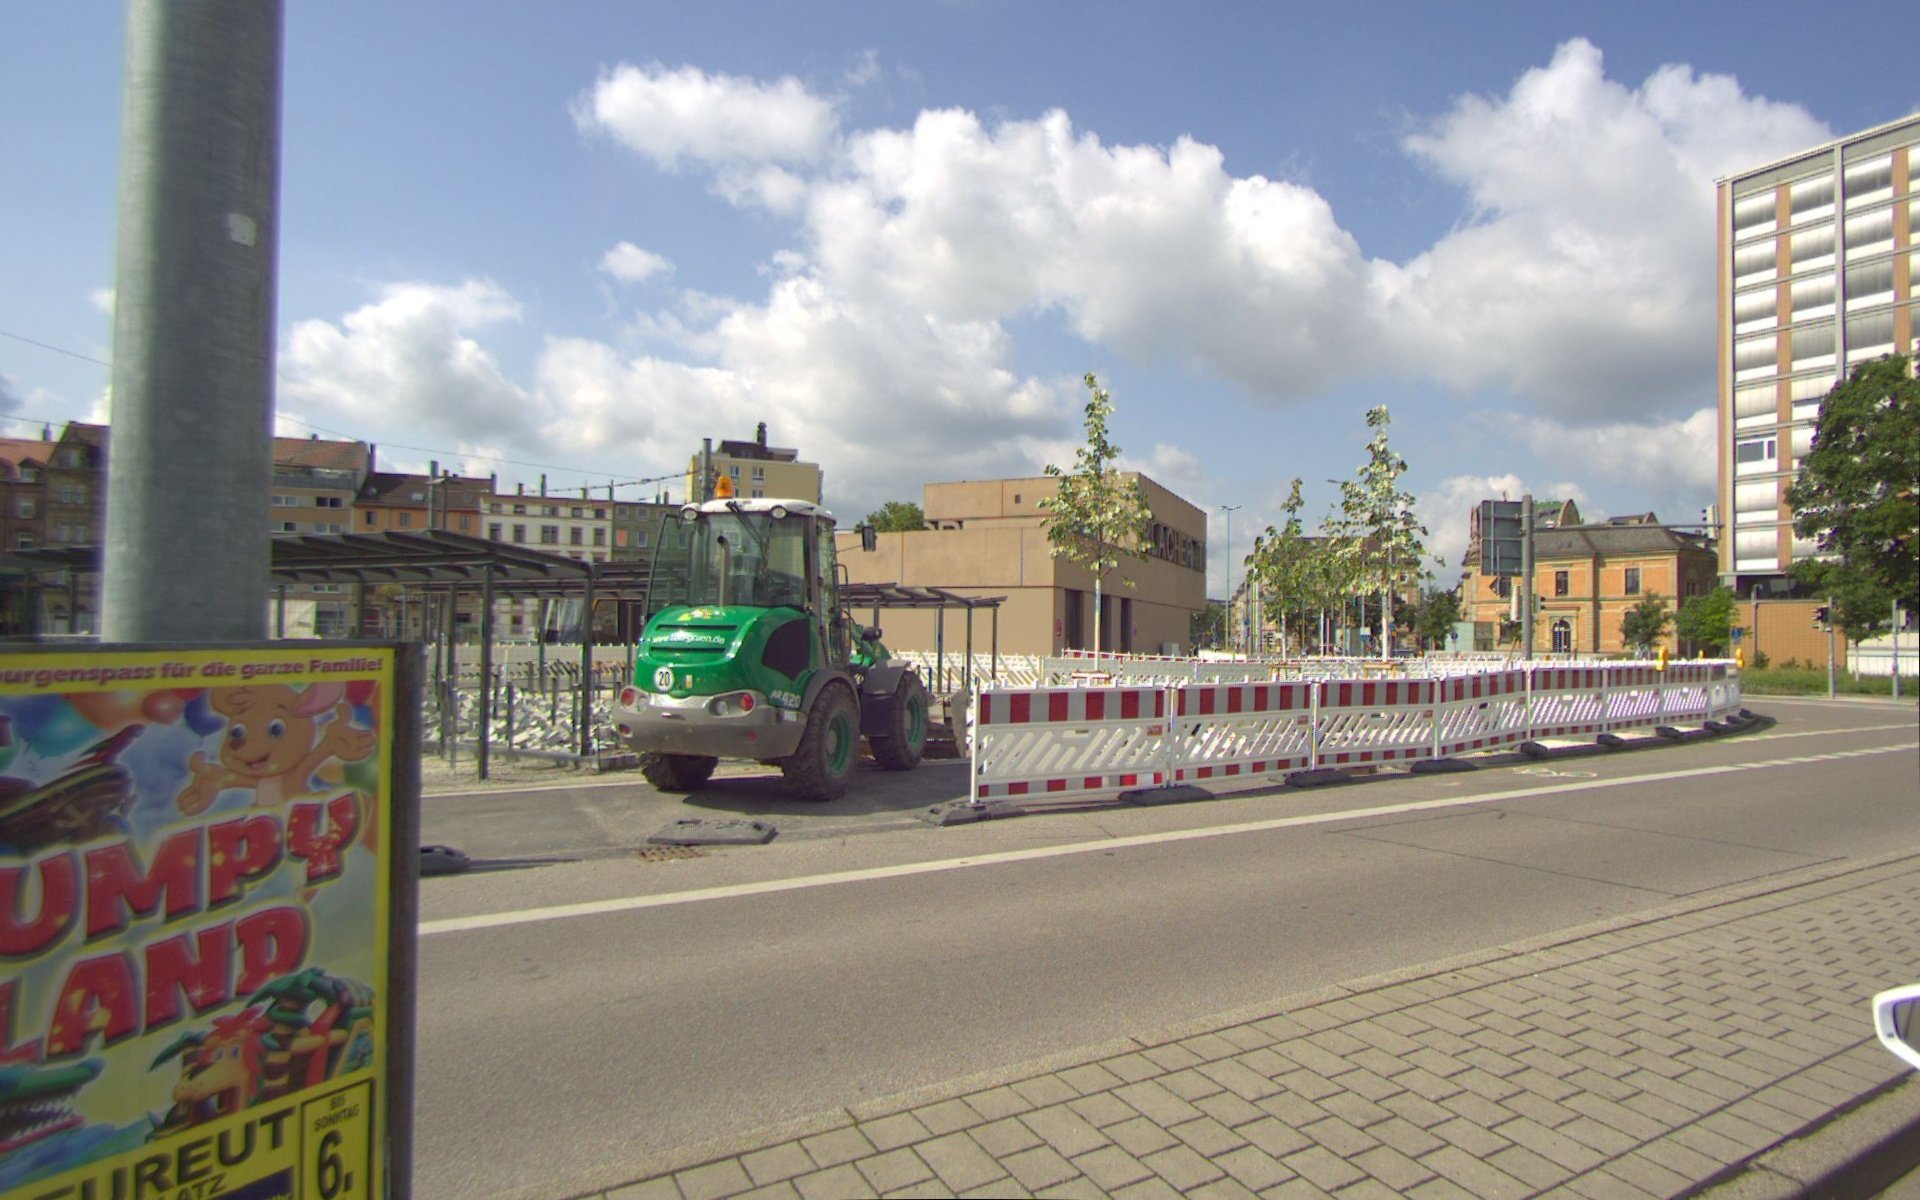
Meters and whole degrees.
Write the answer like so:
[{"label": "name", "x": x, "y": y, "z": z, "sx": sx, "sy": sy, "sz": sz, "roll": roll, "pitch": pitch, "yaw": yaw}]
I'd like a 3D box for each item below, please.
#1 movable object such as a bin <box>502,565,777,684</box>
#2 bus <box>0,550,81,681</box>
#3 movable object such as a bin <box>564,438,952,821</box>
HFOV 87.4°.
[{"label": "movable object such as a bin", "x": -10.395, "y": 0.897, "z": 34.188, "sx": 2.965, "sy": 3.468, "sz": 9.677, "roll": 0, "pitch": -2, "yaw": 27}, {"label": "bus", "x": -27.464, "y": 0.232, "z": 22.071, "sx": 2.937, "sy": 3.305, "sz": 12.067, "roll": 0, "pitch": -2, "yaw": 25}, {"label": "movable object such as a bin", "x": -1.700, "y": 0.316, "z": 10.255, "sx": 1.960, "sy": 2.988, "sz": 4.453, "roll": 0, "pitch": -2, "yaw": 17}]
